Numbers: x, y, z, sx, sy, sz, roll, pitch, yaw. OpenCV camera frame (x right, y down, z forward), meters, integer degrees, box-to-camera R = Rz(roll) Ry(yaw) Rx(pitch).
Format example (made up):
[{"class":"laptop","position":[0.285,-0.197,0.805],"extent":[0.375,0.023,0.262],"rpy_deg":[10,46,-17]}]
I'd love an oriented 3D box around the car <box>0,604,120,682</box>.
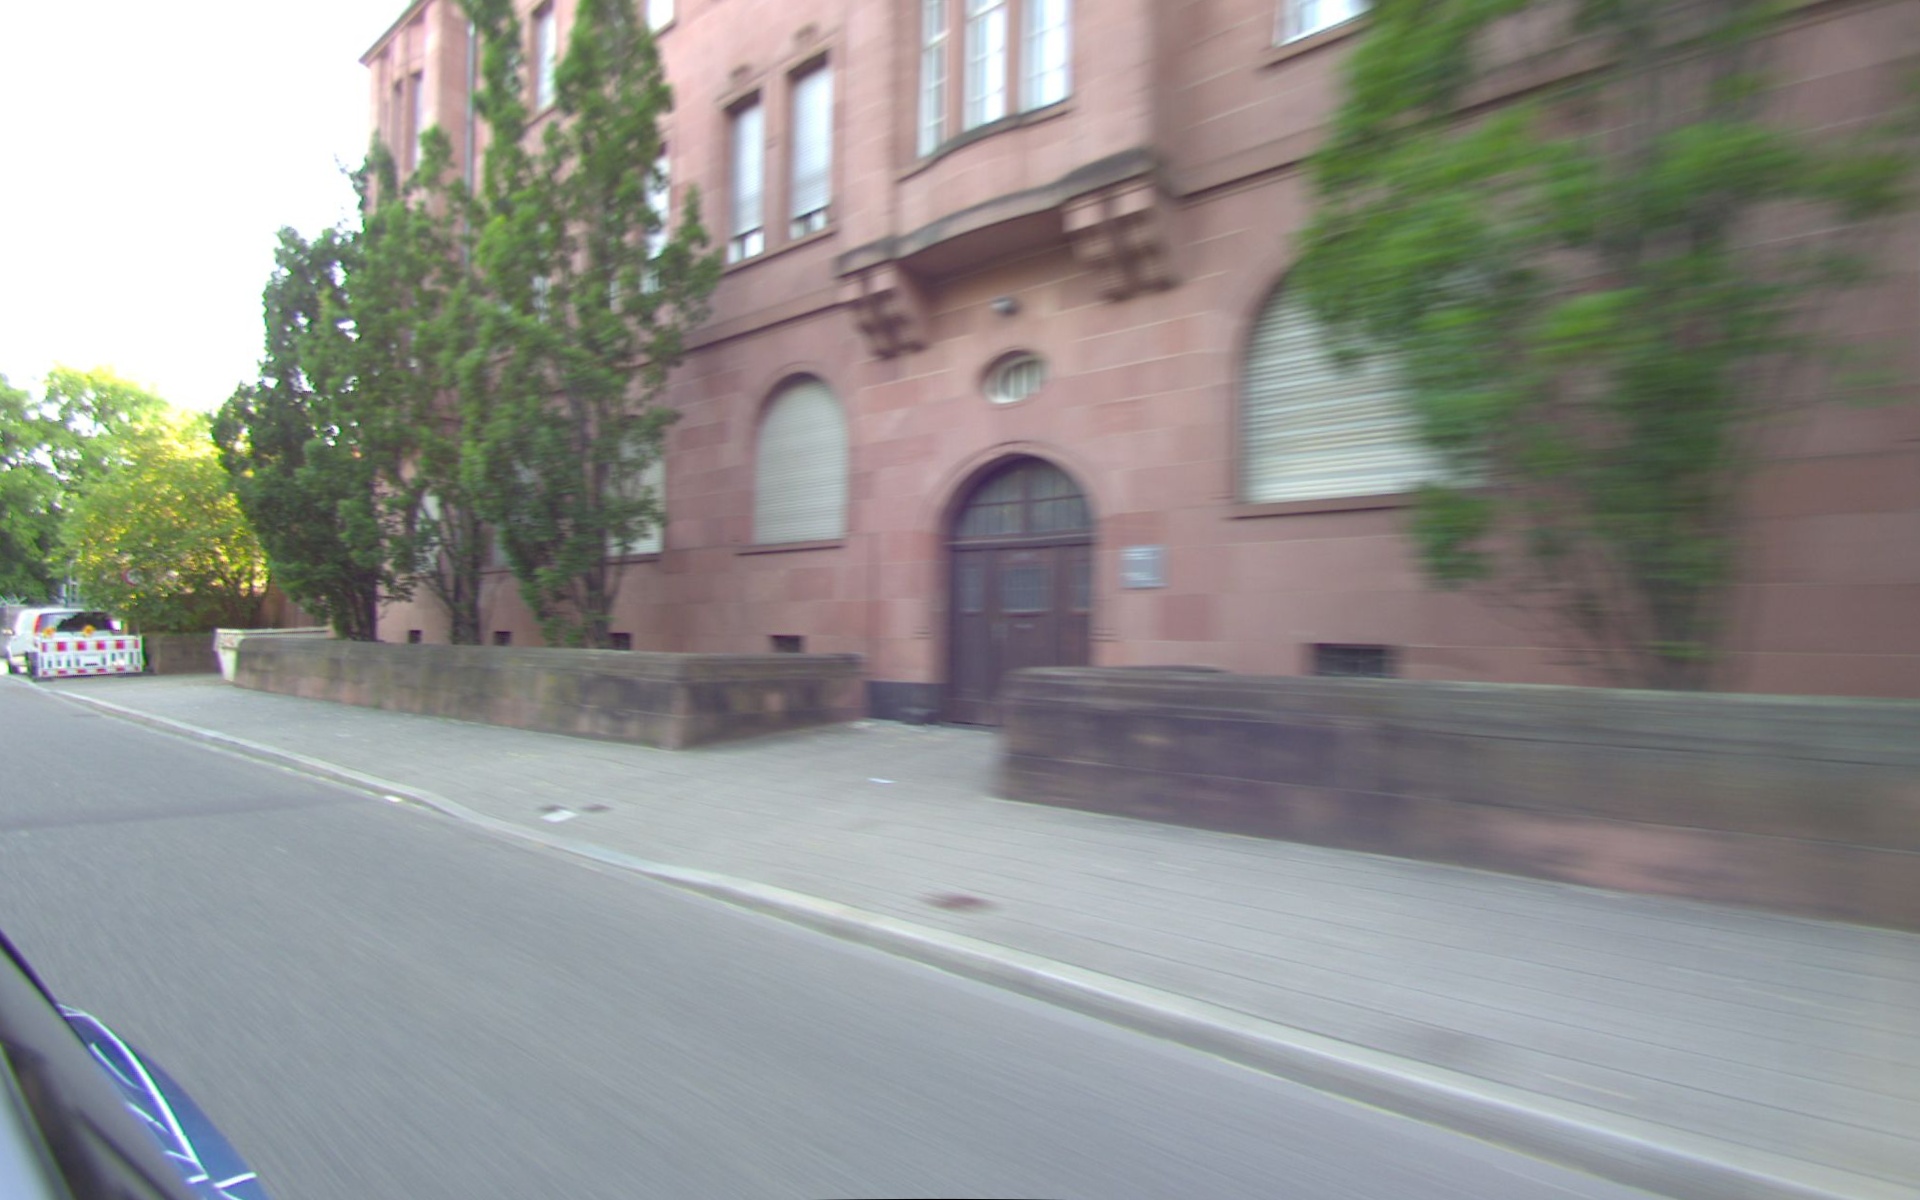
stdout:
[{"class":"car","position":[-25.933,1.165,29.041],"extent":[5.221,2.029,1.864],"rpy_deg":[-1,0,40]}]
